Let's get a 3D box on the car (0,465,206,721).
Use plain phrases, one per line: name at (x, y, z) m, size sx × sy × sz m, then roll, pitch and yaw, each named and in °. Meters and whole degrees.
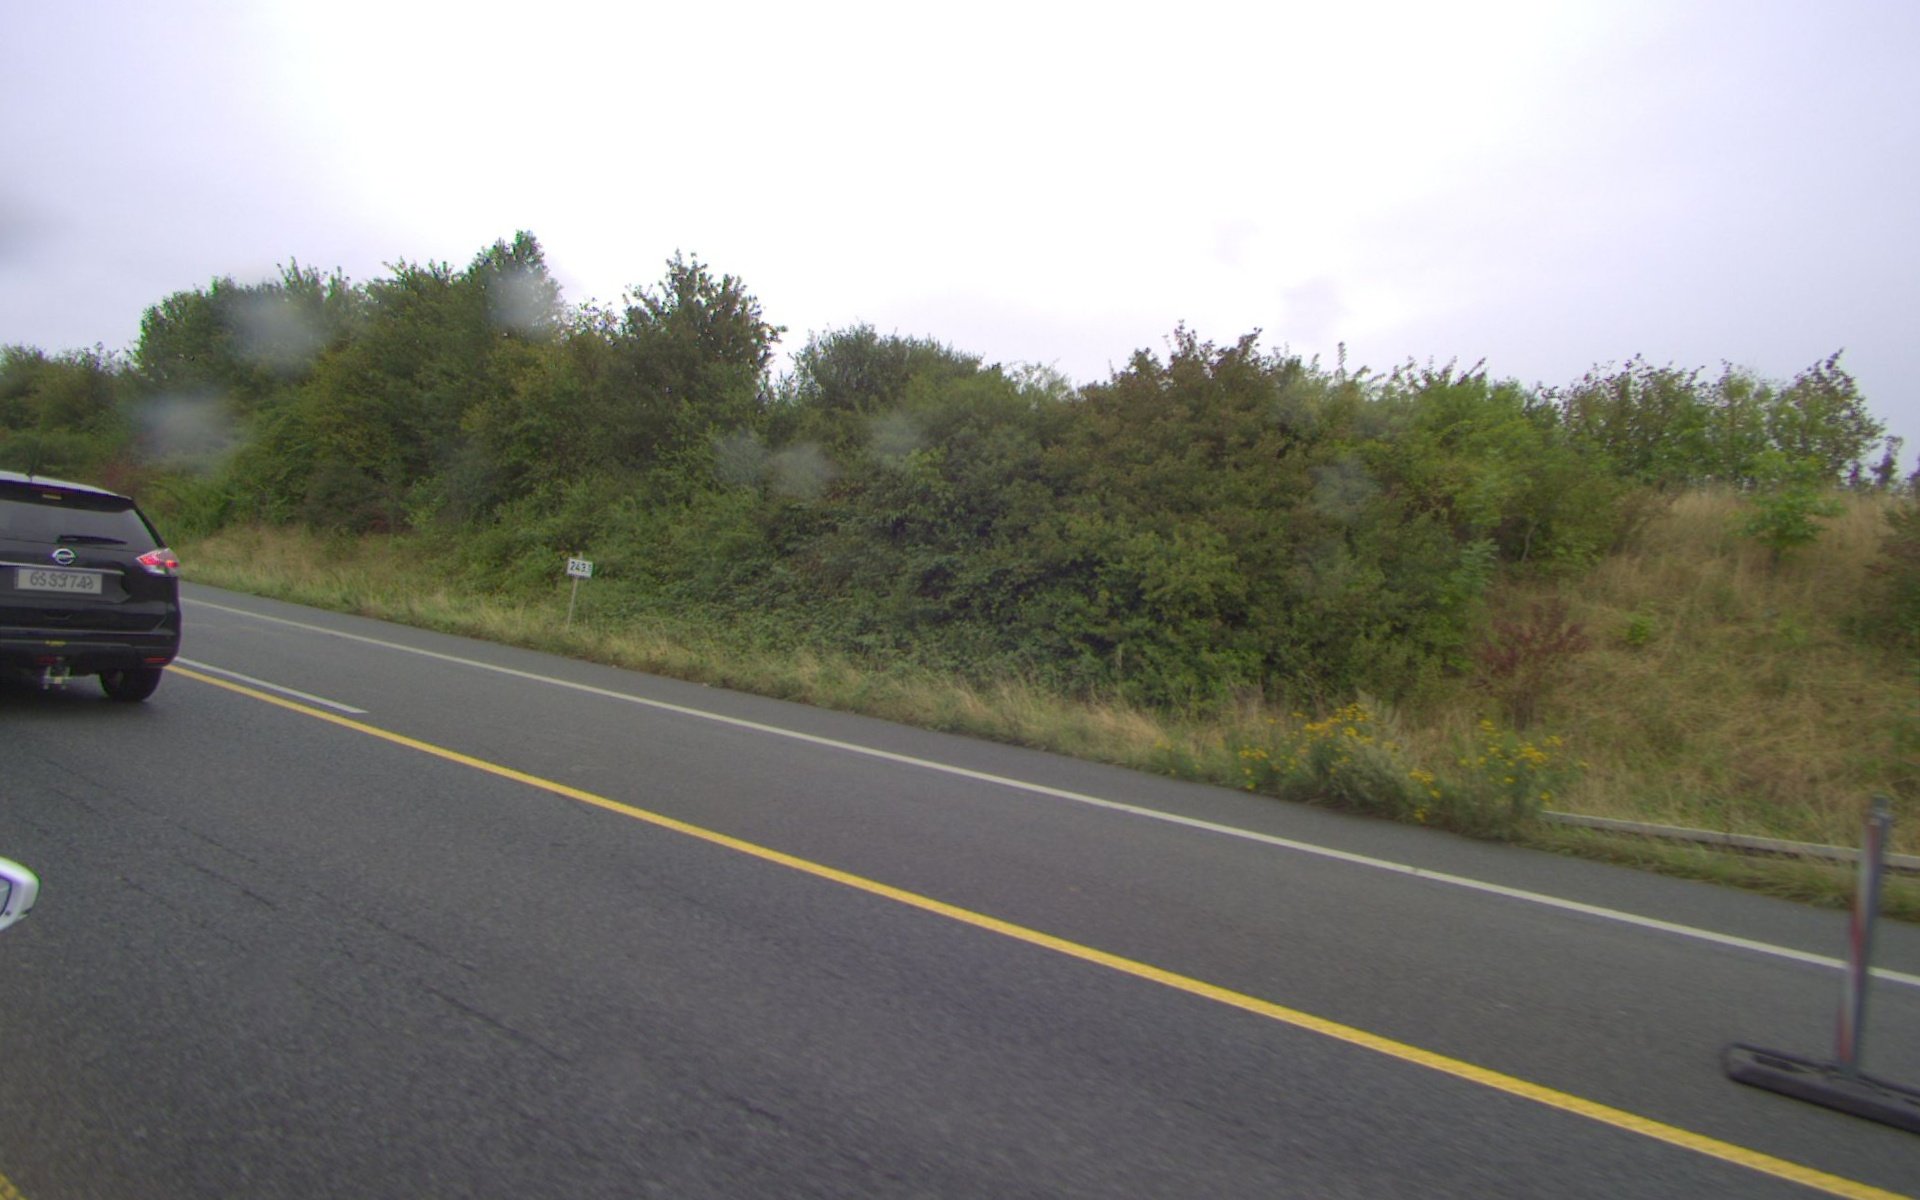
car at (-7.974, -0.229, 7.869) m, size 4.208 × 1.678 × 1.688 m, roll 7°, pitch -1°, yaw 30°
